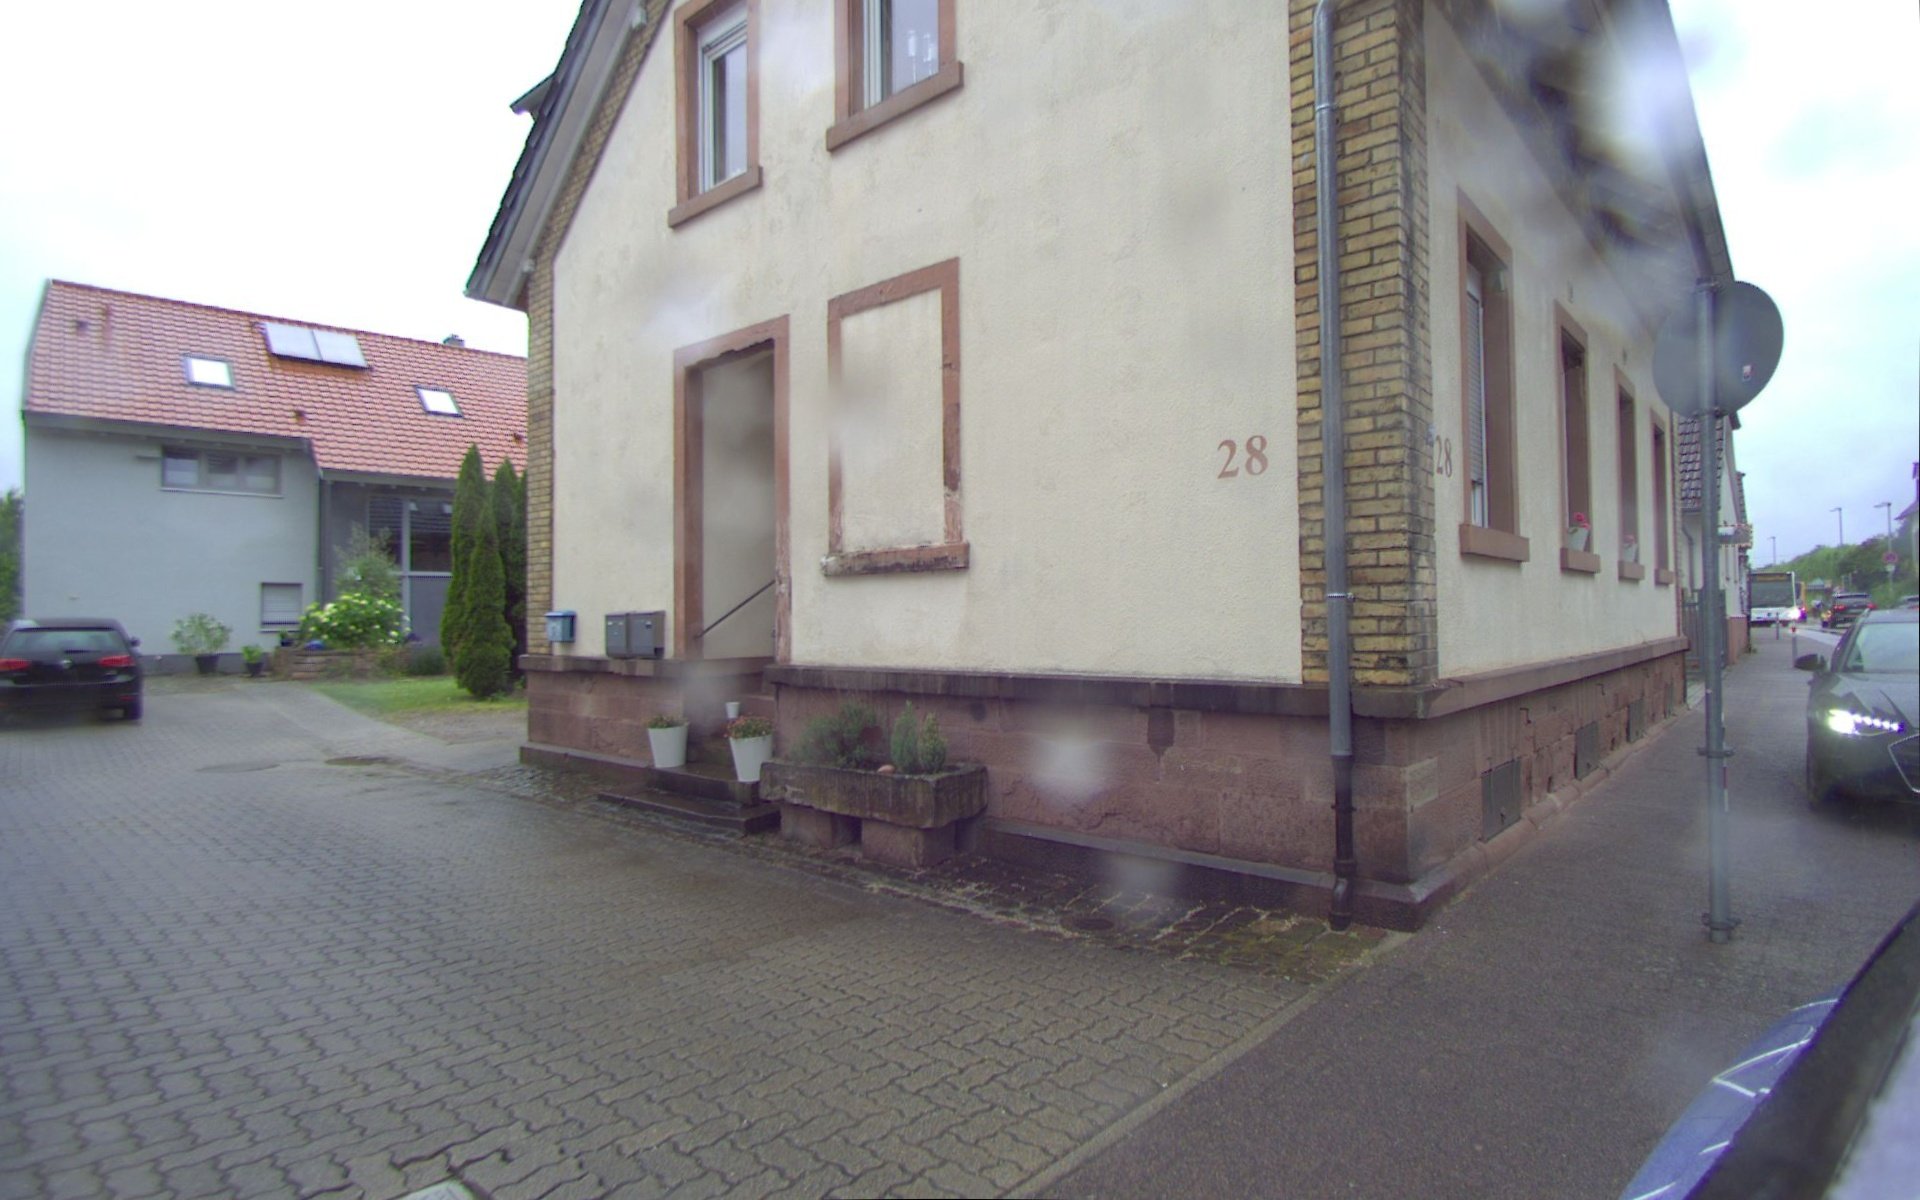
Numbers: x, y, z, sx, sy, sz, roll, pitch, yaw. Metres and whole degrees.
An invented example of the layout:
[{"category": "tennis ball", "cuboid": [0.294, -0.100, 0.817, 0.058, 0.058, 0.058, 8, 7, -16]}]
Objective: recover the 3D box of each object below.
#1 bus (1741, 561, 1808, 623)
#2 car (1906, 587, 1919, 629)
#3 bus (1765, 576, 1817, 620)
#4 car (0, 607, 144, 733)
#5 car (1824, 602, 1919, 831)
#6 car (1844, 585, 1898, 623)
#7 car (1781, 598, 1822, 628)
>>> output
[{"category": "bus", "cuboid": [47.169, -0.493, 58.833, 2.655, 3.273, 12.028, 0, 1, 37]}, {"category": "car", "cuboid": [37.357, 0.242, 38.593, 1.620, 1.531, 3.736, -5, -3, 41]}, {"category": "bus", "cuboid": [65.651, -0.212, 80.121, 2.655, 3.273, 12.028, 0, 1, 37]}, {"category": "car", "cuboid": [-13.602, 0.948, 15.437, 1.655, 1.491, 3.994, 0, 2, -41]}, {"category": "car", "cuboid": [7.601, 0.728, 7.539, 1.732, 1.388, 4.043, 0, 0, 40]}, {"category": "car", "cuboid": [44.026, 0.163, 48.985, 1.778, 1.686, 4.361, -3, -1, 41]}, {"category": "car", "cuboid": [59.874, 0.903, 72.044, 1.988, 2.039, 3.948, 0, 0, 36]}]
